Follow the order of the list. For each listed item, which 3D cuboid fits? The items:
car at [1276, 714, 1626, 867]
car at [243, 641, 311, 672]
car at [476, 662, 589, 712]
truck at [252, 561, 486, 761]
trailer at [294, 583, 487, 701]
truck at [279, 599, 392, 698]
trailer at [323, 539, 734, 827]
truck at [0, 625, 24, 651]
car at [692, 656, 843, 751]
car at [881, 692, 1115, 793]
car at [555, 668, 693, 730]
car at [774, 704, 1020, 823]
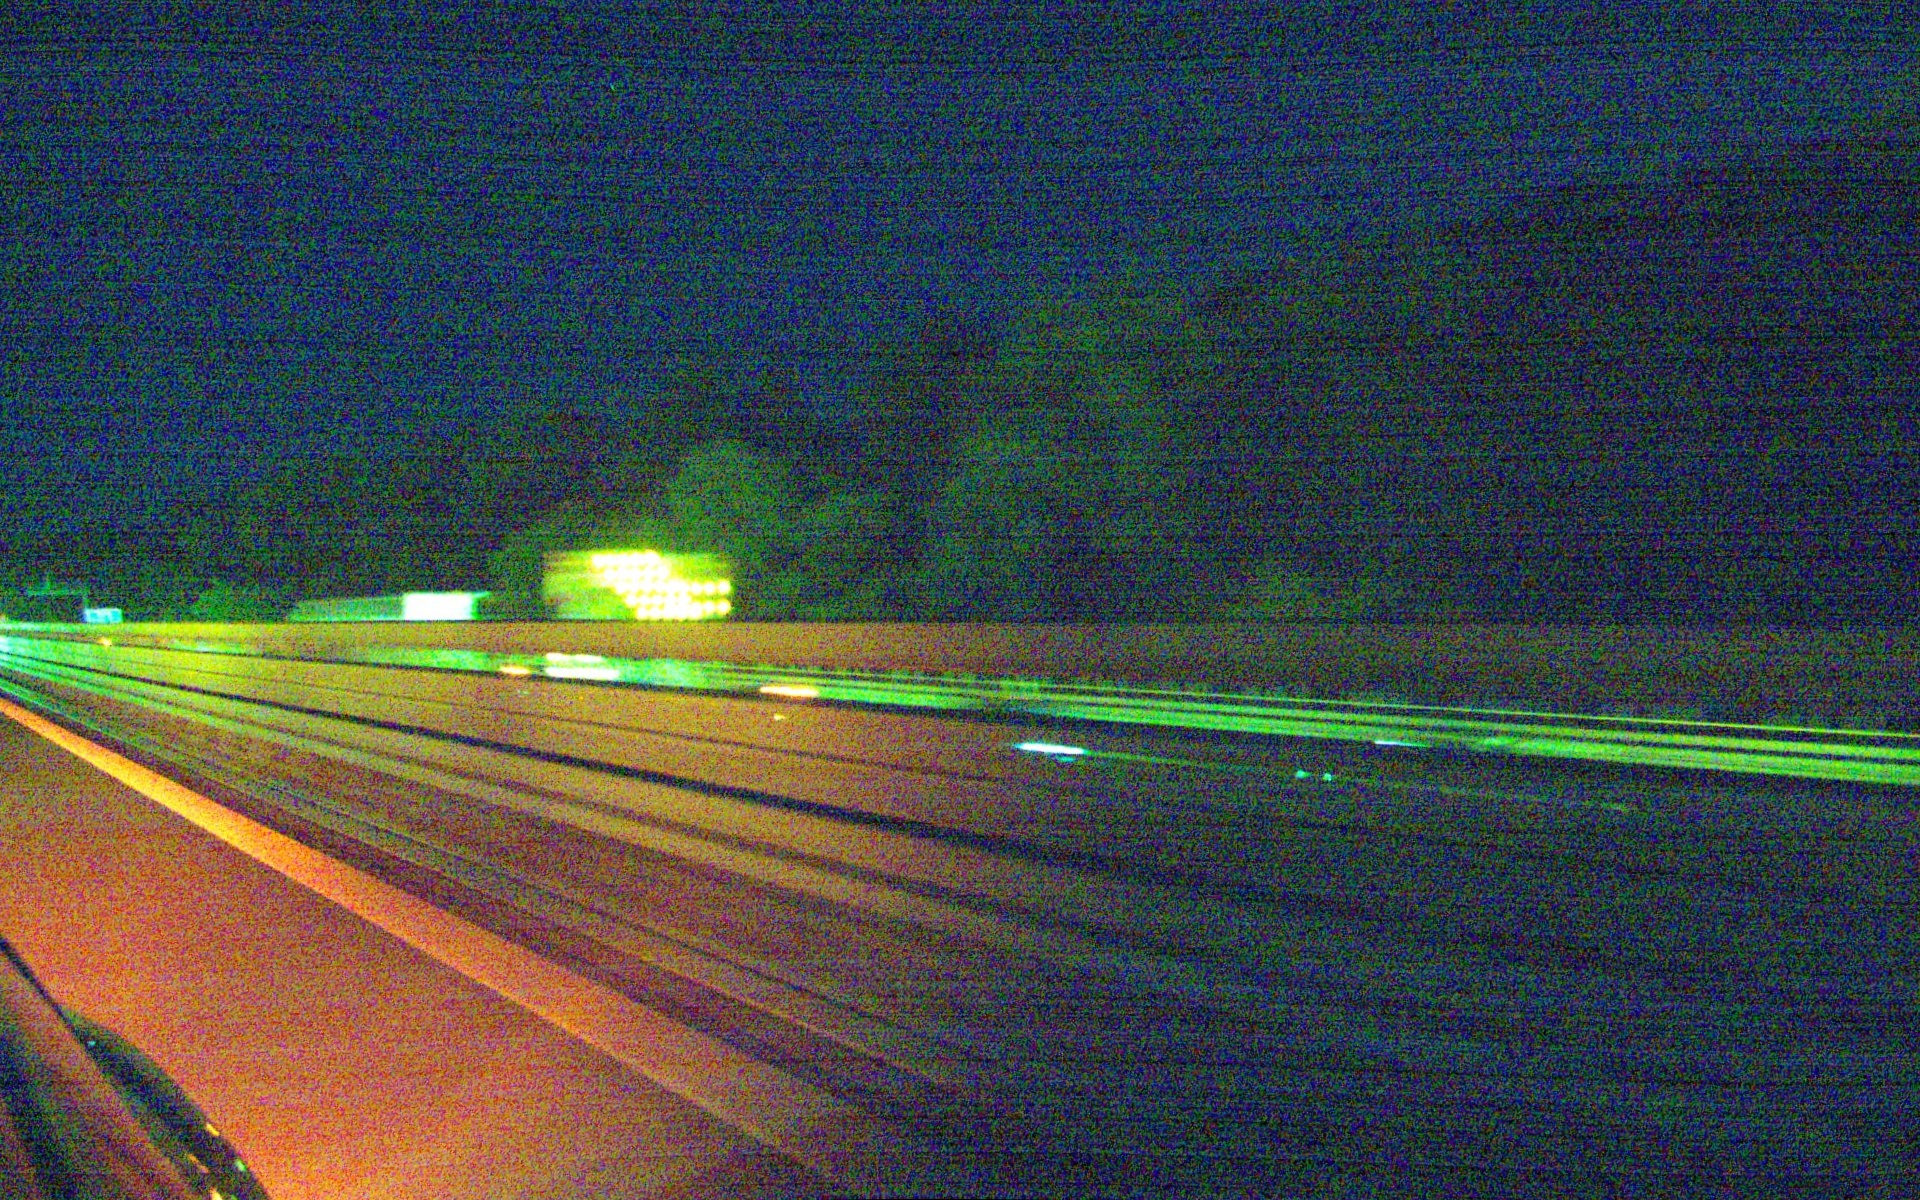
[{"bbox_3d":[6.967,2.586,14.632,4.140,1.560,1.971,-2,-3,44],"label":"car"},{"bbox_3d":[-36.035,2.922,53.330,4.402,1.502,1.972,-2,-2,42],"label":"car"},{"bbox_3d":[-14.904,2.964,35.197,4.402,1.502,1.972,-2,-2,42],"label":"car"},{"bbox_3d":[-13.194,1.167,22.318,6.755,3.771,2.575,-1,0,43],"label":"truck"},{"bbox_3d":[-24.909,1.608,43.587,14.815,4.348,3.113,-1,0,44],"label":"trailer"},{"bbox_3d":[-29.760,2.173,48.111,6.284,4.348,3.053,-1,0,44],"label":"truck"},{"bbox_3d":[-7.946,1.108,17.472,10.124,3.741,2.508,-1,0,42],"label":"trailer"},{"bbox_3d":[-138.090,5.500,146.547,8.543,3.618,2.627,-2,-2,40],"label":"truck"},{"bbox_3d":[-4.805,2.440,24.878,1.866,2.029,4.005,1,-2,-42],"label":"car"},{"bbox_3d":[0.667,2.709,20.078,4.402,1.502,1.972,-2,-2,42],"label":"car"},{"bbox_3d":[-9.993,2.861,29.928,4.402,1.502,1.972,-2,-2,42],"label":"car"},{"bbox_3d":[-1.112,2.547,16.517,4.001,1.427,1.780,-2,-4,44],"label":"car"}]
